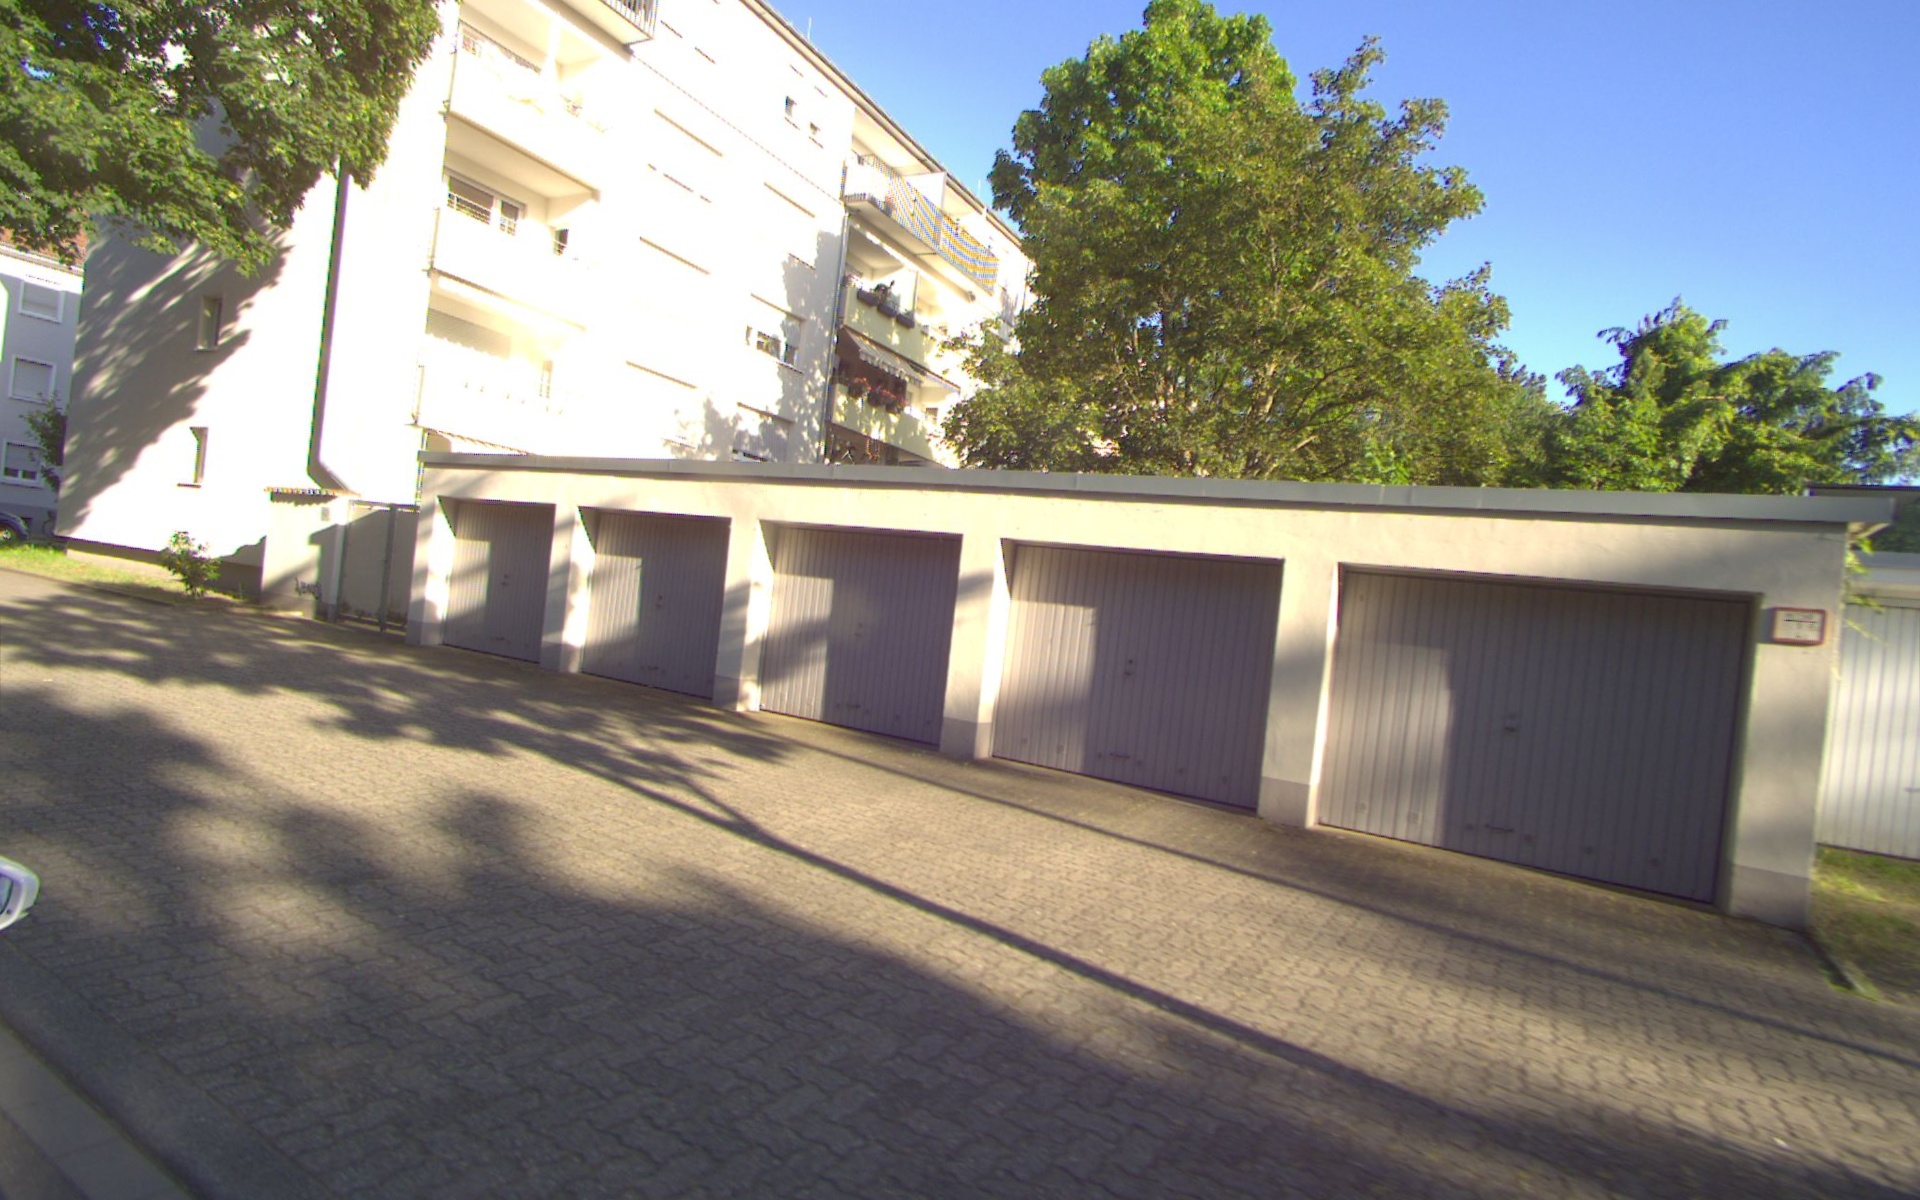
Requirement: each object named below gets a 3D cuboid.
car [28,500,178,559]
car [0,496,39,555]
[{"bbox_3d":[-31.892,-2.593,37.557,1.620,1.515,3.834,6,-2,28],"label":"car"},{"bbox_3d":[-28.187,-2.296,27.484,1.697,1.531,4.052,5,-3,27],"label":"car"}]
